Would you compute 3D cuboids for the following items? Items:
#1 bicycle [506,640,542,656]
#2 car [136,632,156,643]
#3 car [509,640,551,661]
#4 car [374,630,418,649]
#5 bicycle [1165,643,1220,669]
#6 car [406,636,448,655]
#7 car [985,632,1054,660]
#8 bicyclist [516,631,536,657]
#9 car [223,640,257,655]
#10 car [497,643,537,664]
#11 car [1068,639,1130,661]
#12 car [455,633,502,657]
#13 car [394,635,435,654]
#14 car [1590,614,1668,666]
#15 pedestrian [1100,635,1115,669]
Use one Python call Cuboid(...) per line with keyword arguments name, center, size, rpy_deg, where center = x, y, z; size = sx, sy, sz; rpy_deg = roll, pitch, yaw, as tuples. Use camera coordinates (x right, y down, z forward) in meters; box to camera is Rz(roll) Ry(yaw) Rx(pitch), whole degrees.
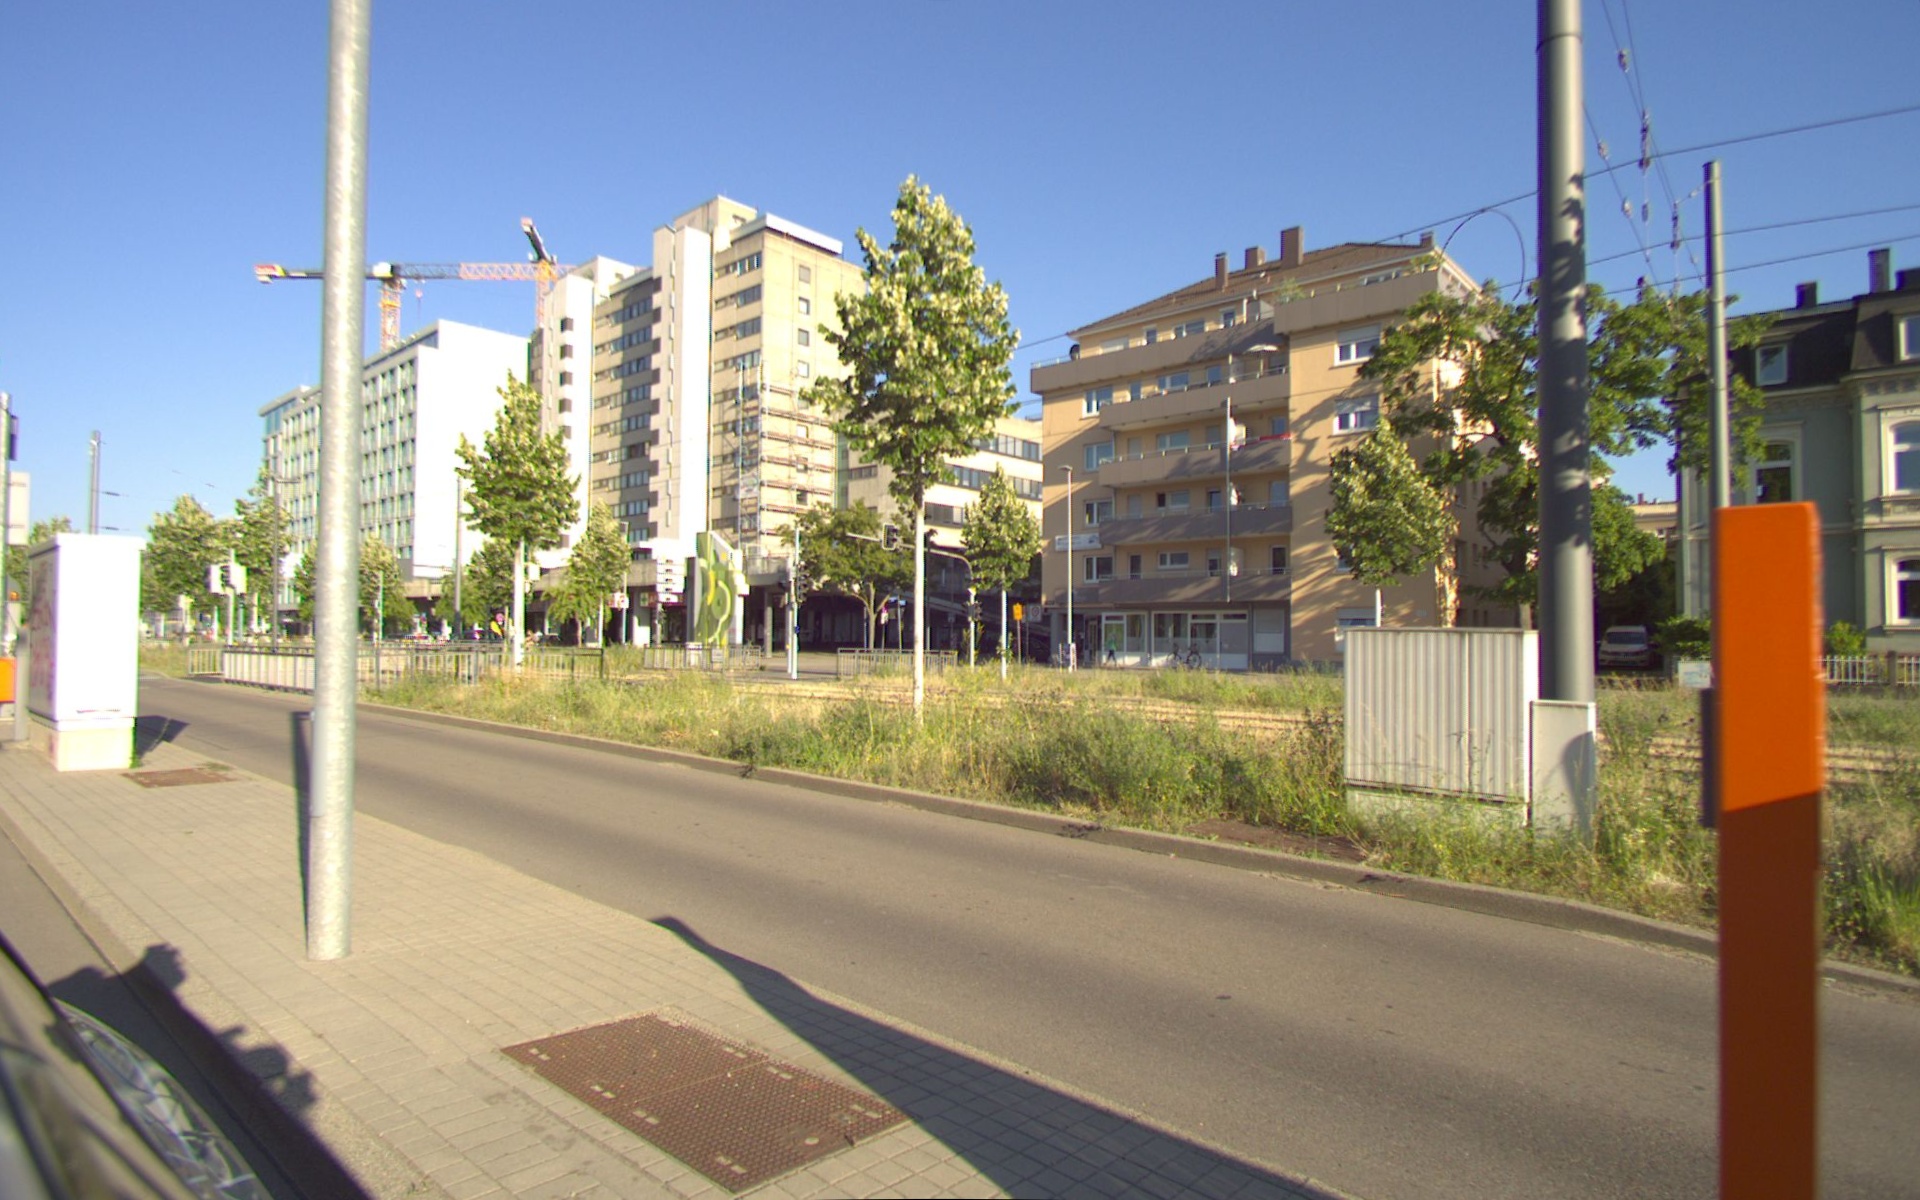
Cuboid(name="bicycle", center=(-24.177, 2.657, 56.104), size=(2.015, 0.898, 0.503), rpy_deg=(-1, -2, 19))
Cuboid(name="car", center=(-132.151, 6.076, 164.293), size=(4.638, 1.600, 1.849), rpy_deg=(-1, 0, 42))
Cuboid(name="car", center=(-30.001, 3.516, 70.714), size=(1.598, 1.283, 3.468), rpy_deg=(-1, 0, -2))
Cuboid(name="car", center=(-50.369, 3.515, 90.423), size=(1.597, 1.455, 4.550), rpy_deg=(-1, 0, -3))
Cuboid(name="bicycle", center=(10.703, 2.557, 46.664), size=(2.585, 1.145, 0.525), rpy_deg=(-2, -3, 42))
Cuboid(name="car", center=(-45.440, 3.886, 86.357), size=(1.598, 1.455, 3.794), rpy_deg=(-1, 0, -2))
Cuboid(name="car", center=(3.353, 2.552, 56.409), size=(1.846, 1.508, 3.945), rpy_deg=(-2, -3, 41))
Cuboid(name="bicyclist", center=(-23.973, 2.424, 55.896), size=(0.710, 1.405, 0.732), rpy_deg=(-1, -2, 18))
Cuboid(name="car", center=(-73.503, 4.860, 103.320), size=(4.660, 1.474, 1.757), rpy_deg=(-1, -2, 41))
Cuboid(name="car", center=(-33.015, 3.988, 75.472), size=(1.598, 1.413, 3.468), rpy_deg=(-1, 0, -2))
Cuboid(name="car", center=(8.692, 3.107, 63.117), size=(2.000, 1.313, 3.944), rpy_deg=(-2, -3, 42))
Cuboid(name="car", center=(-37.904, 3.528, 79.781), size=(1.599, 1.703, 4.195), rpy_deg=(-1, 0, 1))
Cuboid(name="car", center=(-47.554, 3.890, 88.285), size=(1.763, 1.455, 3.804), rpy_deg=(-1, 0, -3))
Cuboid(name="car", center=(27.651, 1.649, 41.780), size=(2.000, 2.062, 3.943), rpy_deg=(-2, -3, 43))
Cuboid(name="pedestrian", center=(6.897, 2.441, 47.256), size=(0.520, 1.567, 0.442), rpy_deg=(-2, -3, 41))
